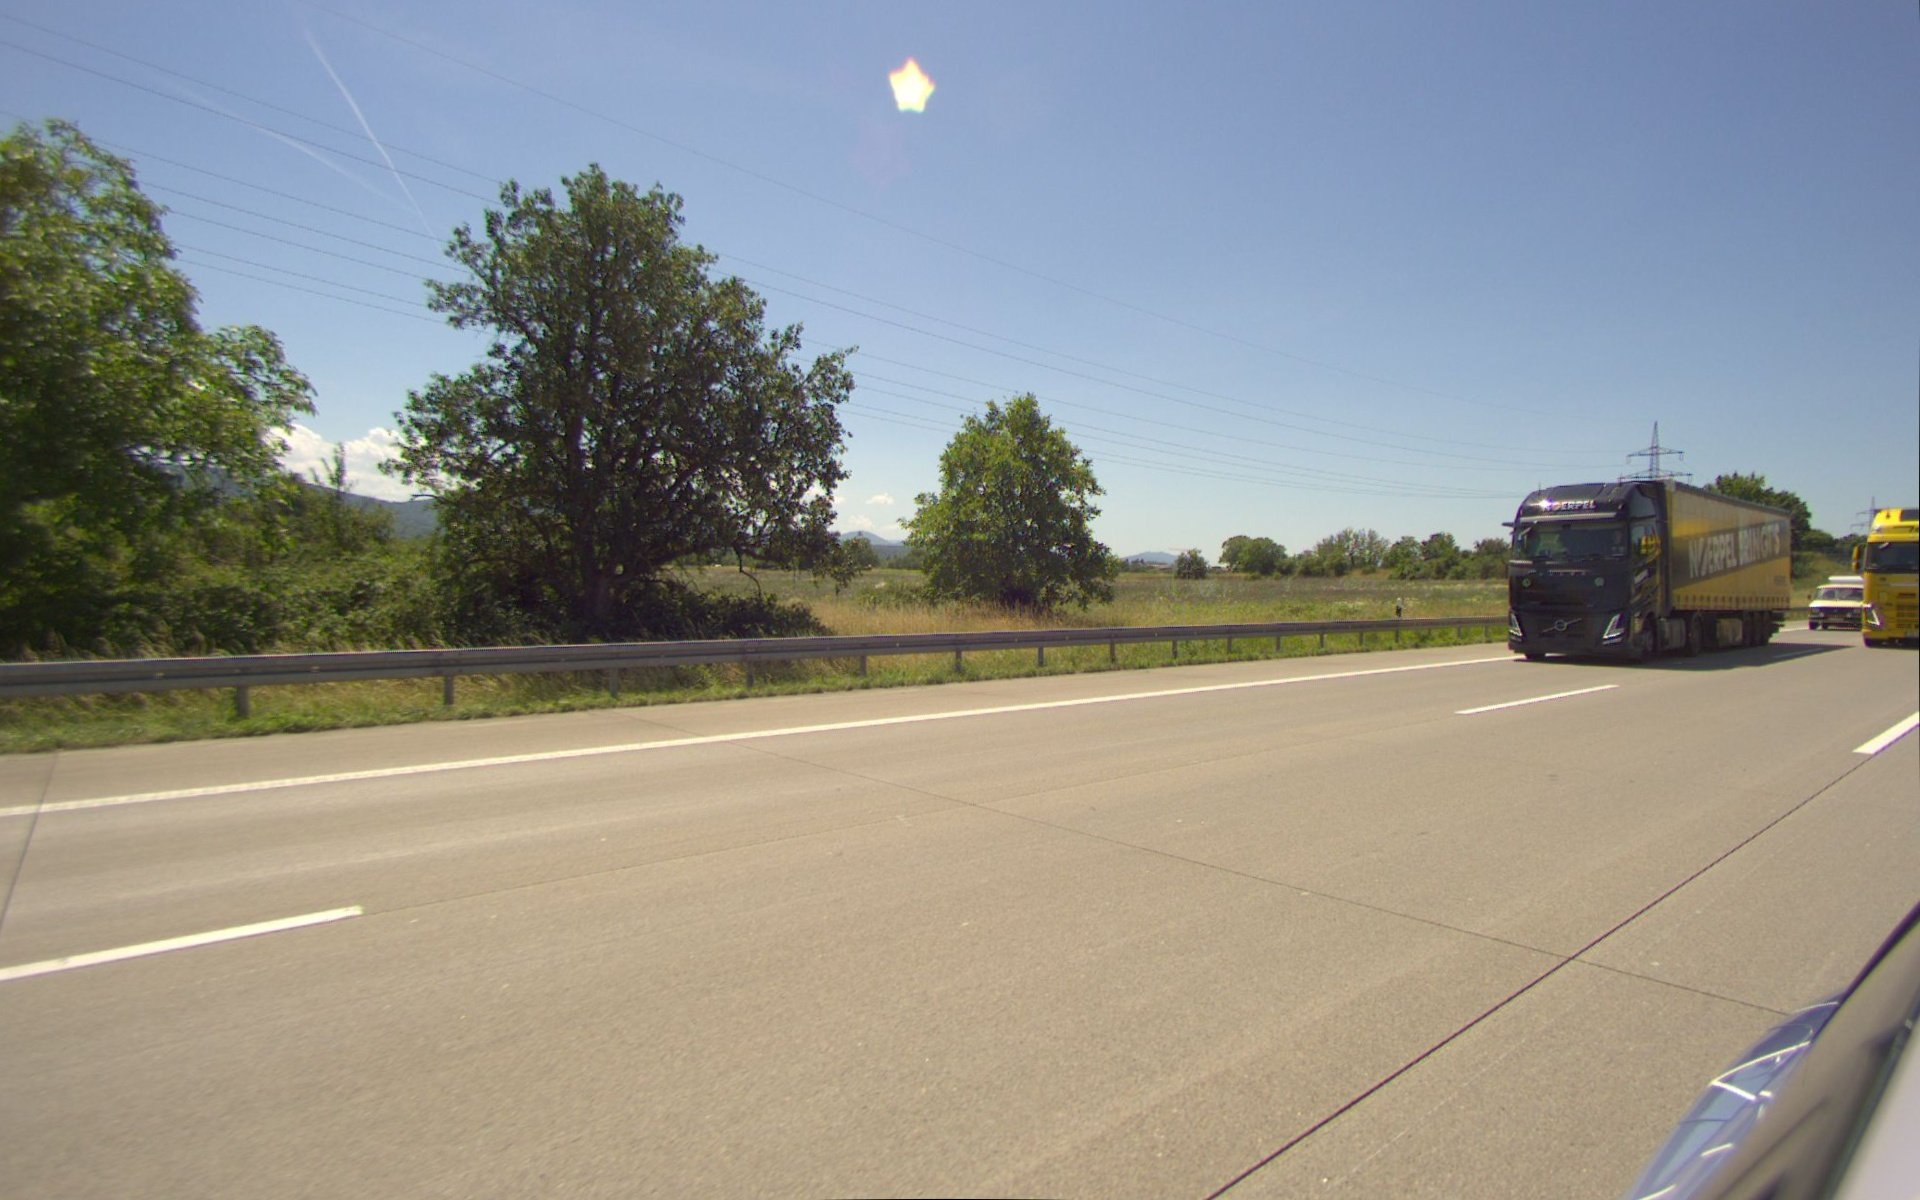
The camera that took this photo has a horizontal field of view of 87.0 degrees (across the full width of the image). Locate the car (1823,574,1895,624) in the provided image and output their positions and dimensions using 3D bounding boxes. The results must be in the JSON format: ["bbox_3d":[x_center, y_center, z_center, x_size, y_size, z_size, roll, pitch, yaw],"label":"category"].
[{"bbox_3d":[37.908,-0.068,42.667,3.752,2.039,1.787,-1,0,-41],"label":"car"}]

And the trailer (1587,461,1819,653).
[{"bbox_3d":[20.967,-1.027,27.938,14.488,4.246,1.997,-1,0,-41],"label":"trailer"}]

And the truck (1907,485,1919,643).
[{"bbox_3d":[28.461,-0.993,28.607,5.104,4.308,1.997,0,0,-41],"label":"truck"}]

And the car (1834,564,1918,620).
[{"bbox_3d":[41.373,-0.382,45.669,5.419,2.377,2.138,-1,0,-41],"label":"car"}]

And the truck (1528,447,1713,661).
[{"bbox_3d":[14.906,-0.941,22.687,5.606,4.246,1.997,0,0,-41],"label":"truck"}]

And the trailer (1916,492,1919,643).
[{"bbox_3d":[33.611,-0.985,33.154,14.936,4.308,1.996,-1,0,-41],"label":"trailer"}]
